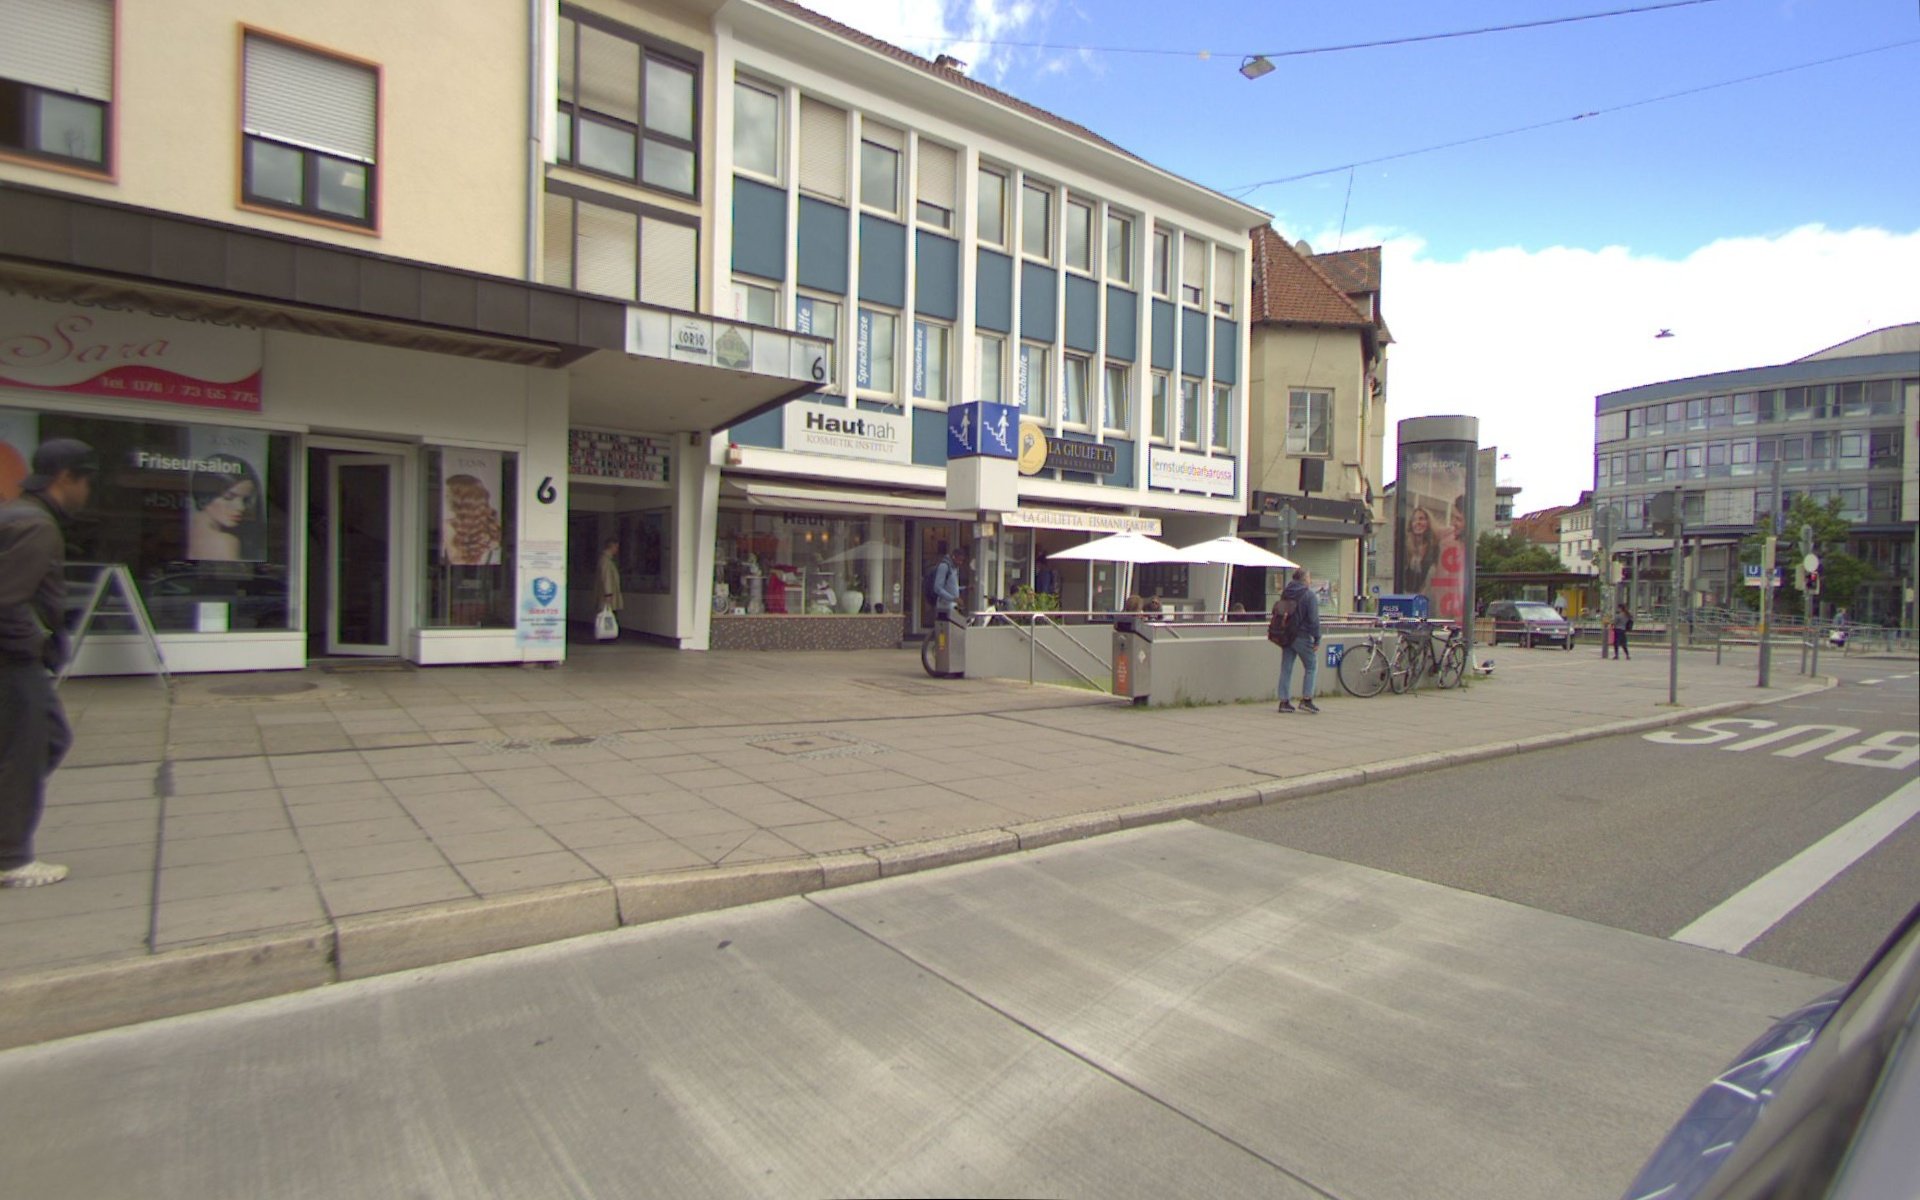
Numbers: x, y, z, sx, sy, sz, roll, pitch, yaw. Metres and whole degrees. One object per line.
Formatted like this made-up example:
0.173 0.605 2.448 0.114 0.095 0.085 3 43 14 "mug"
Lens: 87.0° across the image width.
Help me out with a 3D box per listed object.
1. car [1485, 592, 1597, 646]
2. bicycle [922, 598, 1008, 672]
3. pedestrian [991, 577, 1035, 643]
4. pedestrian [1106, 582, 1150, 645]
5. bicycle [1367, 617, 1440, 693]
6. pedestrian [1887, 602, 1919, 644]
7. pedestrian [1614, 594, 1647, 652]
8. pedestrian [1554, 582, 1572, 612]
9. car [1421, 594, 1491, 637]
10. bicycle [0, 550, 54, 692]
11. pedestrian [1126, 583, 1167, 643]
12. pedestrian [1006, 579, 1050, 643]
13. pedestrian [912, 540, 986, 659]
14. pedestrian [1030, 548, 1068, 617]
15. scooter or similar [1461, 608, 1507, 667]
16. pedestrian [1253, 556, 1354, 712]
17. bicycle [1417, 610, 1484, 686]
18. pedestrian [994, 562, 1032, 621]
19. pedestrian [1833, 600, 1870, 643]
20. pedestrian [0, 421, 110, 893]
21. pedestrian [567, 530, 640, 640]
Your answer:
22.319 0.652 39.103 1.847 1.919 4.920 1 1 6 "car"
0.089 0.477 14.229 1.364 0.986 0.274 1 1 -43 "bicycle"
1.013 0.190 19.297 0.577 1.236 0.614 2 -3 -41 "pedestrian"
3.445 0.268 20.750 0.577 1.235 0.614 2 2 -41 "pedestrian"
6.089 0.738 13.879 1.361 0.986 0.274 1 1 -38 "bicycle"
37.839 0.938 40.501 0.834 1.656 0.641 -1 -2 18 "pedestrian"
19.291 0.665 29.127 0.580 1.643 0.739 -1 -2 20 "pedestrian"
36.633 -0.186 61.491 0.682 1.766 0.615 0 -2 -2 "pedestrian"
23.624 0.680 48.365 1.851 1.919 4.909 1 1 12 "car"
-8.247 0.141 7.453 2.309 1.075 0.742 1 2 -41 "bicycle"
3.894 0.272 21.180 0.577 1.236 0.614 2 -3 -41 "pedestrian"
1.346 0.212 19.993 0.577 1.235 0.614 2 0 -41 "pedestrian"
-0.158 -0.016 14.588 0.786 1.655 0.667 1 0 -41 "pedestrian"
1.944 -0.374 22.141 0.577 1.480 0.614 2 -3 -39 "pedestrian"
10.549 0.744 20.362 1.186 1.147 0.315 1 1 -38 "scooter or similar"
3.831 0.357 11.298 0.838 1.655 0.689 1 1 -39 "pedestrian"
7.199 0.693 14.839 1.361 1.066 0.274 1 1 -38 "bicycle"
1.149 -0.174 21.951 0.577 1.236 0.614 1 -3 -39 "pedestrian"
36.156 0.869 41.050 0.796 1.668 0.883 2 0 18 "pedestrian"
-3.679 0.197 3.854 0.603 1.699 0.614 1 1 -36 "pedestrian"
-5.589 -0.233 15.869 0.838 1.655 0.689 1 1 -41 "pedestrian"
